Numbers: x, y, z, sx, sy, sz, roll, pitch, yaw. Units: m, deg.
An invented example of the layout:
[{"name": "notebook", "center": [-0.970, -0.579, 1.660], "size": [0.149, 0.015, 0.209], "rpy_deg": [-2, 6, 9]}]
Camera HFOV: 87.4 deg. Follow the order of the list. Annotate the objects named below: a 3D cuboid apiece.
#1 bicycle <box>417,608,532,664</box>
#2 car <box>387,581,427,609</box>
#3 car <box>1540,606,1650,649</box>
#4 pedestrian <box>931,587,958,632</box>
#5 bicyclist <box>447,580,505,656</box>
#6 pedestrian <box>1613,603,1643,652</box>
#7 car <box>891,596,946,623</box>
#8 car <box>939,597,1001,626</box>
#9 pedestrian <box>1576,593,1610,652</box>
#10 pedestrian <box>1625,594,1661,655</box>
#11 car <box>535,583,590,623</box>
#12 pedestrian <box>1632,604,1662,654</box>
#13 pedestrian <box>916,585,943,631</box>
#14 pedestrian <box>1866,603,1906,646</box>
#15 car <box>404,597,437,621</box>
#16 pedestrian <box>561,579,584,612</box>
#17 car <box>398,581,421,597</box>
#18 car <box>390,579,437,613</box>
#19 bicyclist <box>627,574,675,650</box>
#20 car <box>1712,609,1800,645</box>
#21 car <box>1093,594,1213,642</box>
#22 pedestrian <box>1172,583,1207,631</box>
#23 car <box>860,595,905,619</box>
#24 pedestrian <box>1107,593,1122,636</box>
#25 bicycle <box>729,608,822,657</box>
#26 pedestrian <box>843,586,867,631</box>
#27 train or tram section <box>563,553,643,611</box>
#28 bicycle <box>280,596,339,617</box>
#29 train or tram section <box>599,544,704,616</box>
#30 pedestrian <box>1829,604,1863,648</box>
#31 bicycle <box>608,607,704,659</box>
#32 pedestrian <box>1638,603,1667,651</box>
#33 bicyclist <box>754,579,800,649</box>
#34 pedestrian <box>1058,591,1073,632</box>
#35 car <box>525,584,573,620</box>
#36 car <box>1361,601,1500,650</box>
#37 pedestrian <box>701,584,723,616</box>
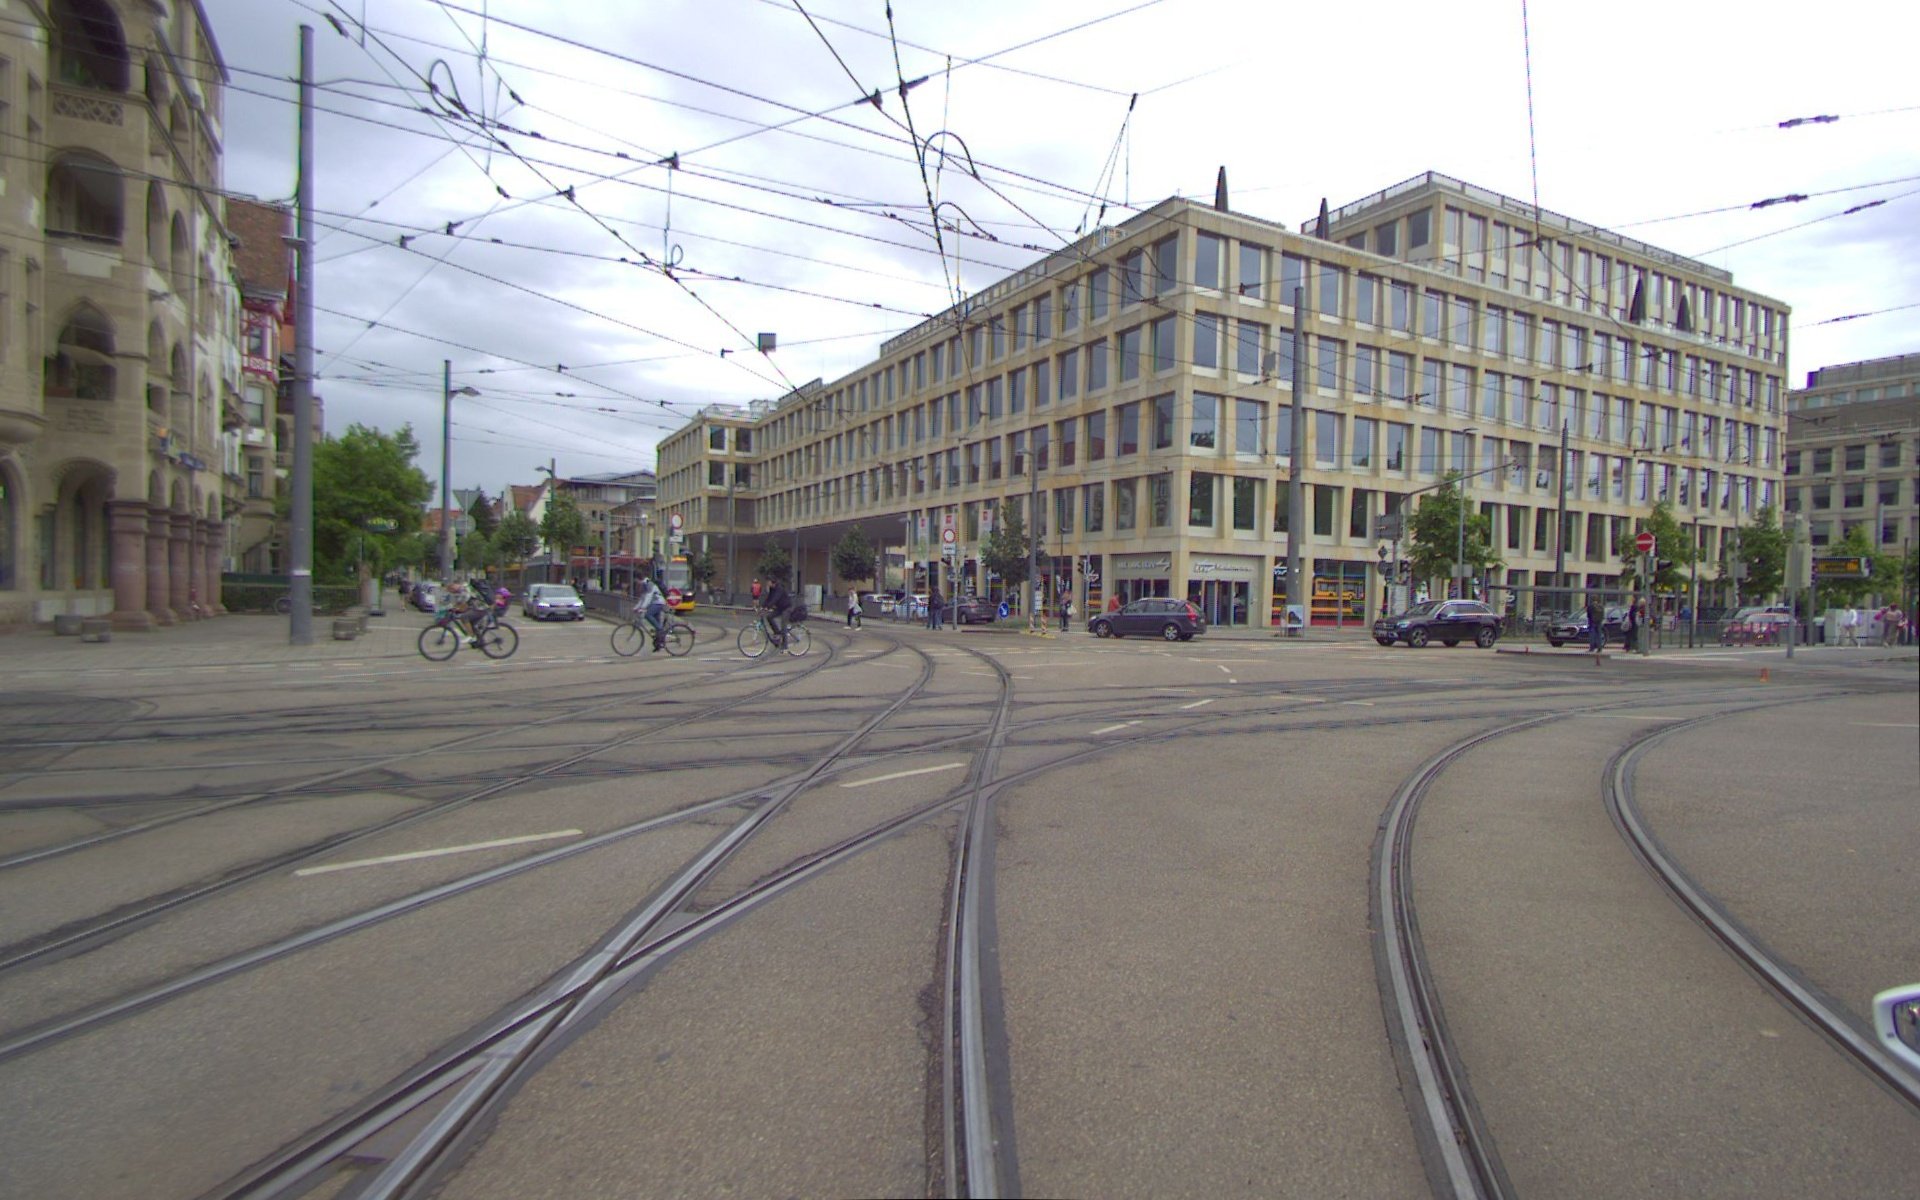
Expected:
[{"name": "bicycle", "center": [-9.653, 0.694, 19.989], "size": [2.001, 1.051, 0.702], "rpy_deg": [0, 1, -33]}, {"name": "car", "center": [-31.976, -0.309, 58.164], "size": [1.777, 1.530, 3.973], "rpy_deg": [2, 0, -26]}, {"name": "car", "center": [24.288, 1.037, 38.369], "size": [4.315, 1.514, 1.730], "rpy_deg": [1, 0, -30]}, {"name": "pedestrian", "center": [-0.624, 0.378, 40.410], "size": [0.677, 1.777, 0.851], "rpy_deg": [2, 0, -33]}, {"name": "bicyclist", "center": [-9.641, 0.345, 19.992], "size": [0.962, 1.463, 0.702], "rpy_deg": [0, 1, -33]}, {"name": "pedestrian", "center": [22.473, 0.931, 33.791], "size": [0.514, 1.620, 0.717], "rpy_deg": [2, 0, 7]}, {"name": "car", "center": [-2.412, 0.521, 57.527], "size": [1.773, 1.439, 3.677], "rpy_deg": [1, 0, -27]}, {"name": "car", "center": [0.497, 0.595, 52.949], "size": [1.773, 1.439, 3.677], "rpy_deg": [1, 0, -27]}, {"name": "pedestrian", "center": [20.781, 0.745, 33.013], "size": [0.839, 1.892, 0.747], "rpy_deg": [2, 0, 28]}, {"name": "pedestrian", "center": [22.010, 0.779, 32.370], "size": [0.839, 1.892, 0.747], "rpy_deg": [2, 0, 28]}, {"name": "car", "center": [-16.419, 0.123, 41.434], "size": [1.777, 1.530, 3.973], "rpy_deg": [2, 0, -26]}, {"name": "pedestrian", "center": [22.975, 0.965, 33.615], "size": [0.514, 1.620, 0.717], "rpy_deg": [2, 0, 7]}, {"name": "pedestrian", "center": [-1.208, 0.315, 40.025], "size": [0.677, 1.777, 0.851], "rpy_deg": [2, 0, -33]}, {"name": "pedestrian", "center": [35.457, 0.930, 38.451], "size": [0.838, 1.607, 0.903], "rpy_deg": [2, 0, -30]}, {"name": "car", "center": [-37.248, 0.626, 69.435], "size": [1.777, 1.530, 3.973], "rpy_deg": [2, 0, -26]}, {"name": "pedestrian", "center": [-24.244, -0.267, 62.851], "size": [1.111, 2.040, 1.061], "rpy_deg": [2, 0, -32]}, {"name": "car", "center": [-55.123, -1.135, 100.627], "size": [1.777, 1.530, 3.973], "rpy_deg": [2, 0, -26]}, {"name": "car", "center": [-26.742, -0.194, 49.244], "size": [1.777, 1.530, 3.973], "rpy_deg": [2, 0, -26]}, {"name": "bicyclist", "center": [-6.704, 0.248, 21.789], "size": [0.850, 1.628, 0.718], "rpy_deg": [0, 1, -33]}, {"name": "car", "center": [34.609, 1.165, 43.671], "size": [3.724, 1.468, 1.730], "rpy_deg": [1, 0, -30]}, {"name": "car", "center": [7.150, 0.647, 37.202], "size": [3.928, 1.617, 1.997], "rpy_deg": [1, 0, 29]}, {"name": "pedestrian", "center": [9.839, 0.302, 43.118], "size": [0.986, 2.040, 1.038], "rpy_deg": [2, 0, -29]}, {"name": "car", "center": [-4.887, 0.419, 63.021], "size": [1.699, 1.439, 3.272], "rpy_deg": [1, 0, -27]}, {"name": "pedestrian", "center": [6.601, 0.606, 42.905], "size": [0.457, 1.818, 0.411], "rpy_deg": [2, 0, -38]}, {"name": "bicycle", "center": [-4.112, 0.735, 22.468], "size": [1.895, 1.050, 0.744], "rpy_deg": [2, 0, -33]}, {"name": "pedestrian", "center": [-4.062, 0.328, 38.879], "size": [0.696, 1.709, 0.604], "rpy_deg": [2, 0, -30]}, {"name": "train or tram section", "center": [-24.855, -1.208, 69.342], "size": [2.573, 3.560, 14.001], "rpy_deg": [2, 0, -30]}, {"name": "bicycle", "center": [-24.340, 0.248, 37.598], "size": [1.782, 0.748, 0.558], "rpy_deg": [2, 0, -29]}, {"name": "train or tram section", "center": [-17.836, -1.055, 57.190], "size": [2.573, 3.560, 14.001], "rpy_deg": [2, 0, -30]}, {"name": "pedestrian", "center": [32.677, 0.957, 37.046], "size": [0.757, 1.607, 0.704], "rpy_deg": [2, 0, -30]}, {"name": "bicycle", "center": [-6.598, 0.696, 21.868], "size": [1.889, 1.051, 0.718], "rpy_deg": [0, 1, -33]}, {"name": "pedestrian", "center": [23.653, 0.922, 34.339], "size": [0.703, 1.620, 0.707], "rpy_deg": [2, 0, 28]}, {"name": "bicyclist", "center": [-4.092, 0.310, 22.468], "size": [0.757, 1.541, 0.744], "rpy_deg": [2, 0, -33]}, {"name": "pedestrian", "center": [4.676, 0.514, 44.490], "size": [0.457, 1.818, 0.411], "rpy_deg": [2, 0, -38]}, {"name": "car", "center": [-18.999, 0.081, 46.318], "size": [1.777, 1.530, 3.973], "rpy_deg": [2, 0, -26]}, {"name": "car", "center": [16.510, 0.889, 35.318], "size": [4.247, 1.620, 1.740], "rpy_deg": [1, 0, -13]}, {"name": "pedestrian", "center": [-16.356, -0.020, 66.273], "size": [1.057, 2.040, 1.114], "rpy_deg": [2, 0, -30]}]
